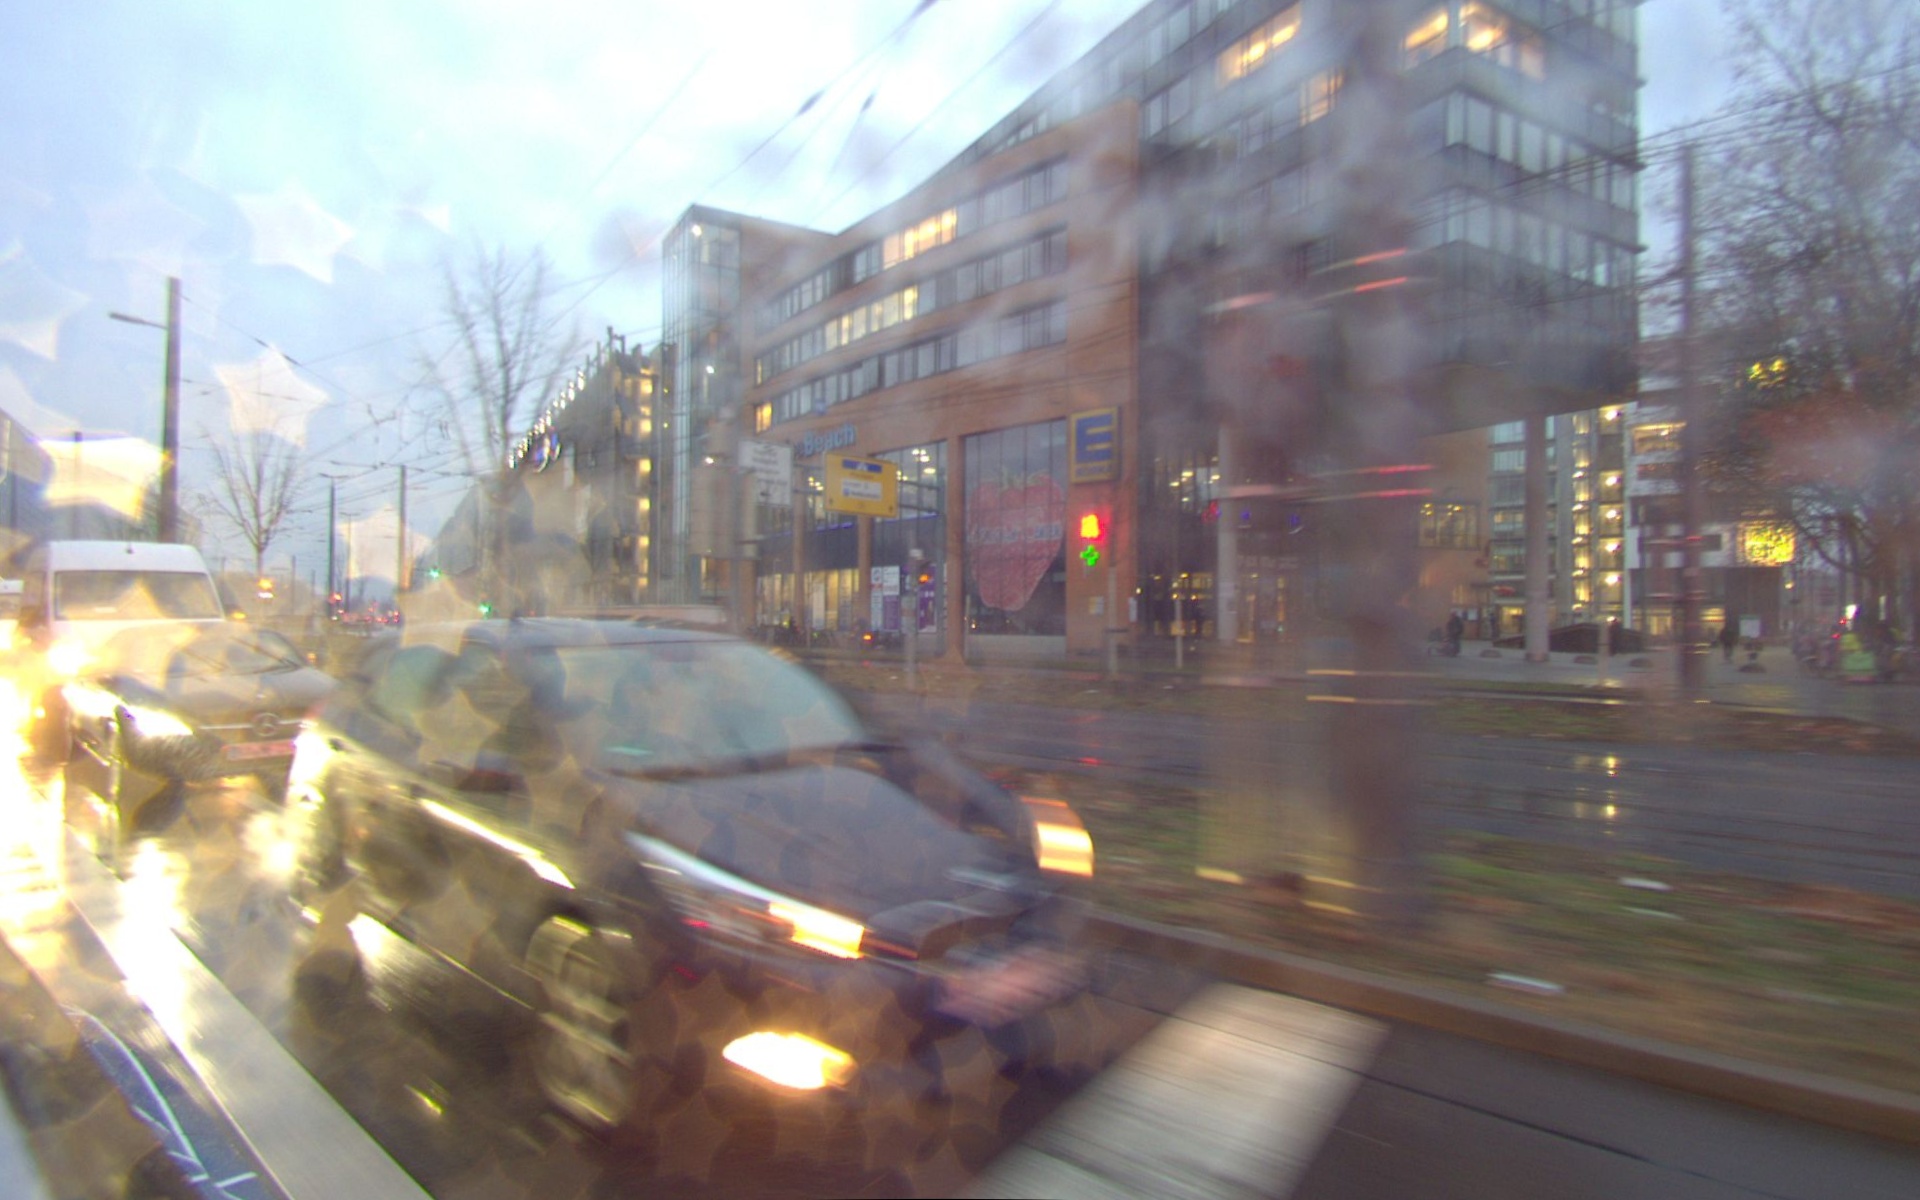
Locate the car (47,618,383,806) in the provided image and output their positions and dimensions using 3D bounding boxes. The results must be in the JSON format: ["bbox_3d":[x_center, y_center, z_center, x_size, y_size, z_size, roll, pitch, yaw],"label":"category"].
[{"bbox_3d":[-7.175,0.865,9.577,4.225,1.342,1.800,-1,0,43],"label":"car"}]

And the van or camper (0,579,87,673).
[{"bbox_3d":[-25.888,0.686,28.114,2.154,2.370,5.654,-1,0,-44],"label":"van or camper"}]

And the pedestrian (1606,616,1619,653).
[{"bbox_3d":[31.618,1.669,49.043,0.446,1.764,0.645,-1,-2,41],"label":"pedestrian"}]

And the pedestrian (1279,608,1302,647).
[{"bbox_3d":[14.415,1.201,44.138,0.730,1.669,0.695,2,-2,-40],"label":"pedestrian"}]

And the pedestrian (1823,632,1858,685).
[{"bbox_3d":[28.203,1.863,32.420,0.591,1.696,0.560,0,-1,9],"label":"pedestrian"}]

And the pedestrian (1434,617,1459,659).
[{"bbox_3d":[20.440,1.584,42.516,0.716,1.721,0.695,2,-2,-40],"label":"pedestrian"}]

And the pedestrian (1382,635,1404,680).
[{"bbox_3d":[12.711,1.671,29.707,0.495,1.274,0.440,-1,0,37],"label":"pedestrian"}]

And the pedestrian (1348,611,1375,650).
[{"bbox_3d":[18.097,1.383,45.615,0.911,1.721,0.695,1,-2,-9],"label":"pedestrian"}]

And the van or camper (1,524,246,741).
[{"bbox_3d":[-12.335,0.389,14.732,5.886,2.567,2.033,0,0,43],"label":"van or camper"}]

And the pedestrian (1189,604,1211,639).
[{"bbox_3d":[10.386,0.931,43.794,0.642,1.515,0.695,2,-2,-40],"label":"pedestrian"}]

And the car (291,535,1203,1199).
[{"bbox_3d":[-1.134,0.697,3.993,3.761,1.585,1.662,-1,-2,43],"label":"car"}]

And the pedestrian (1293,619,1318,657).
[{"bbox_3d":[13.816,1.519,40.446,0.642,1.515,0.695,2,-2,-40],"label":"pedestrian"}]

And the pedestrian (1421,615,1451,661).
[{"bbox_3d":[19.786,1.570,42.072,0.763,1.860,0.924,2,-2,-40],"label":"pedestrian"}]

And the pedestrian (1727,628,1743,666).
[{"bbox_3d":[34.828,2.119,45.486,0.560,1.696,0.590,-1,-2,37],"label":"pedestrian"}]

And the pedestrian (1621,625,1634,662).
[{"bbox_3d":[32.083,2.094,48.642,0.446,1.764,0.645,-1,-2,41],"label":"pedestrian"}]

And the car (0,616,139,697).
[{"bbox_3d":[-17.778,1.040,20.059,3.952,1.409,1.800,-1,0,43],"label":"car"}]

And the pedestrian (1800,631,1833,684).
[{"bbox_3d":[28.033,1.882,33.133,0.590,1.696,0.560,0,-1,8],"label":"pedestrian"}]
